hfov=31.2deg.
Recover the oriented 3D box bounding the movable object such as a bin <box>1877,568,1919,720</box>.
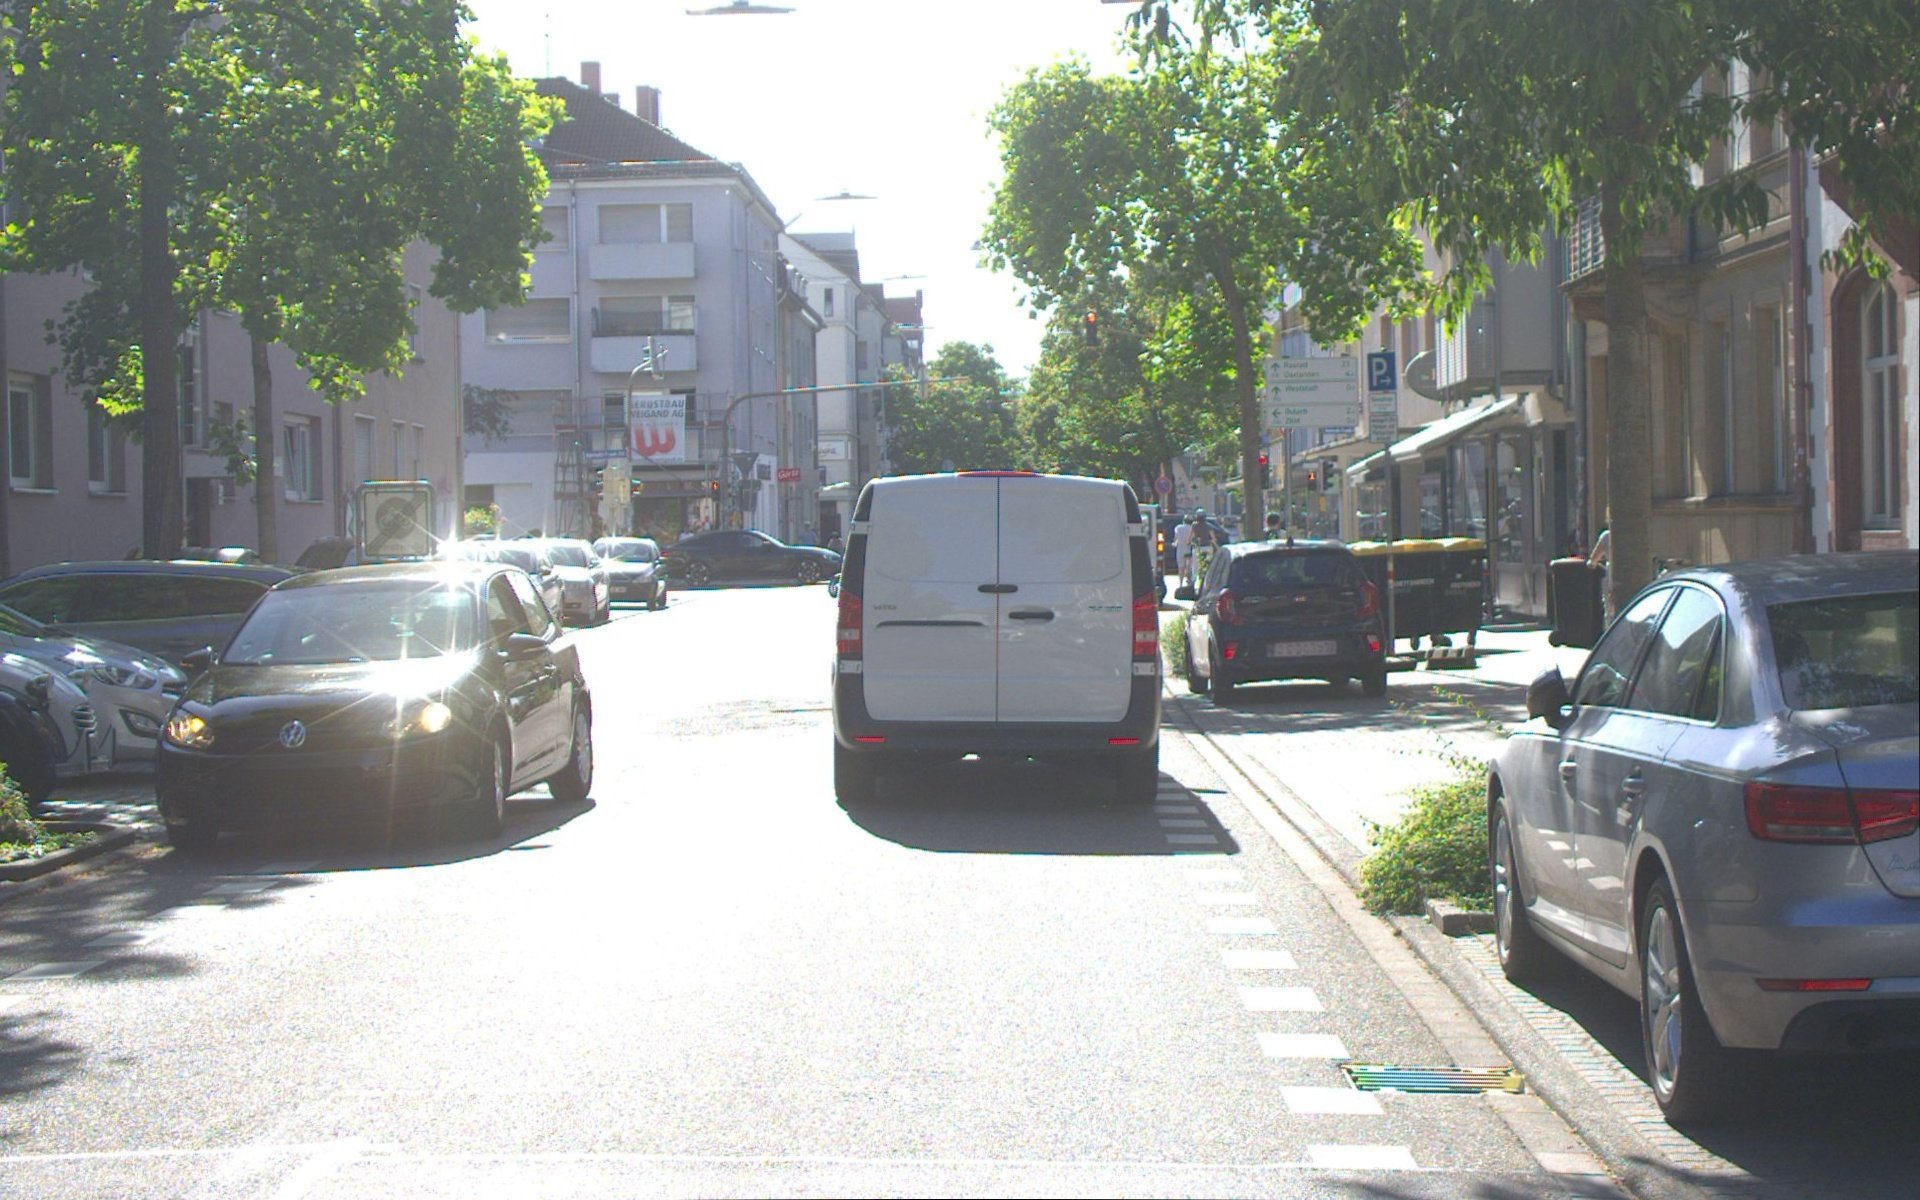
[{"bbox_3d":[6.975,0.306,24.647,0.638,1.065,0.632,-1,1,1],"label":"movable object such as a bin"}]

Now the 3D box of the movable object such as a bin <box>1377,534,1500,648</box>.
[{"bbox_3d":[5.803,-0.122,41.659,1.040,1.343,1.106,1,2,40],"label":"movable object such as a bin"}]

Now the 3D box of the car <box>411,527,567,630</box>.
[{"bbox_3d":[-7.436,-0.379,54.621,1.721,1.491,4.626,2,1,1],"label":"car"}]

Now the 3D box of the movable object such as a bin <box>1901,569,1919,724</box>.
[{"bbox_3d":[6.973,0.320,24.053,0.638,1.065,0.521,-1,1,1],"label":"movable object such as a bin"}]

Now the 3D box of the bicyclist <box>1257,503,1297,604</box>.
[{"bbox_3d":[4.818,-0.708,52.209,0.439,1.503,0.497,5,1,1],"label":"bicyclist"}]

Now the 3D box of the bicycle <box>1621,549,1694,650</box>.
[{"bbox_3d":[7.478,-0.017,36.885,0.432,1.027,1.428,-4,1,0],"label":"bicycle"}]

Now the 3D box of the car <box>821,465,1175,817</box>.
[{"bbox_3d":[0.195,0.159,21.261,1.920,1.907,4.888,1,2,0],"label":"car"}]

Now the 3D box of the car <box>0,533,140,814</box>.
[{"bbox_3d":[-6.744,0.381,19.853,3.598,1.546,1.684,0,1,2],"label":"car"}]

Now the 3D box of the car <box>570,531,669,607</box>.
[{"bbox_3d":[-7.050,-0.667,71.429,1.653,1.474,4.000,1,1,0],"label":"car"}]

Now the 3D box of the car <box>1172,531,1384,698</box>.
[{"bbox_3d":[2.991,0.093,32.919,1.635,1.470,3.580,-1,1,-1],"label":"car"}]

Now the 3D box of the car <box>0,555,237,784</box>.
[{"bbox_3d":[-7.022,0.434,23.069,3.986,1.458,1.813,0,1,-2],"label":"car"}]

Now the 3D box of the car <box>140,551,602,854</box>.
[{"bbox_3d":[-3.120,0.481,18.989,1.763,1.433,3.960,-2,1,1],"label":"car"}]

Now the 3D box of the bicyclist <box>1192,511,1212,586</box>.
[{"bbox_3d":[5.142,-1.093,73.068,0.355,1.570,0.482,1,1,-2],"label":"bicyclist"}]

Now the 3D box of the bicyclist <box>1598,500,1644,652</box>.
[{"bbox_3d":[6.438,-0.238,33.490,0.361,1.472,0.530,0,1,4],"label":"bicyclist"}]

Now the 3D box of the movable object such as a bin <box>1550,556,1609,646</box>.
[{"bbox_3d":[7.284,0.009,40.432,0.598,1.038,0.546,-1,1,0],"label":"movable object such as a bin"}]

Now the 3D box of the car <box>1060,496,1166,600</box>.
[{"bbox_3d":[2.941,-1.031,66.782,1.816,1.914,4.644,-1,1,0],"label":"car"}]

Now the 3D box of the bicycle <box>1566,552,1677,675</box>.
[{"bbox_3d":[6.454,0.116,33.613,0.536,1.145,2.124,-3,1,-3],"label":"bicycle"}]

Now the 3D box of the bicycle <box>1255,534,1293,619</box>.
[{"bbox_3d":[4.758,-0.368,52.135,0.475,1.270,1.218,-1,1,0],"label":"bicycle"}]

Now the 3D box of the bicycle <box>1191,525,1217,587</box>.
[{"bbox_3d":[5.163,-0.936,72.909,0.416,1.305,1.335,-1,1,-1],"label":"bicycle"}]

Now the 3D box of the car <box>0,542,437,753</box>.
[{"bbox_3d":[-6.239,0.318,25.756,4.305,1.455,1.762,1,1,3],"label":"car"}]

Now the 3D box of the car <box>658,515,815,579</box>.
[{"bbox_3d":[-5.755,-1.378,89.034,3.986,1.634,2.000,0,1,-2],"label":"car"}]

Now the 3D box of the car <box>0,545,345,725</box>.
[{"bbox_3d":[-7.424,0.263,28.583,4.305,1.428,1.644,0,1,1],"label":"car"}]

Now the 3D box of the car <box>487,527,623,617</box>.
[{"bbox_3d":[-7.139,-0.530,60.953,1.777,1.464,4.760,2,1,0],"label":"car"}]

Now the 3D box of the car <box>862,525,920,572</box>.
[{"bbox_3d":[-2.092,-1.588,104.979,1.618,1.393,3.731,0,1,1],"label":"car"}]

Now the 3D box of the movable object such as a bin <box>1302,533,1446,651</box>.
[{"bbox_3d":[4.888,-0.104,40.567,1.268,1.343,1.108,-2,2,-41],"label":"movable object such as a bin"}]

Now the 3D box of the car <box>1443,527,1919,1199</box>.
[{"bbox_3d":[2.568,0.556,9.798,1.738,1.446,4.308,-3,1,0],"label":"car"}]

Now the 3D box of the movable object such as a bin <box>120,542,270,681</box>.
[{"bbox_3d":[-8.138,0.111,36.612,1.231,1.445,1.075,0,1,9],"label":"movable object such as a bin"}]
